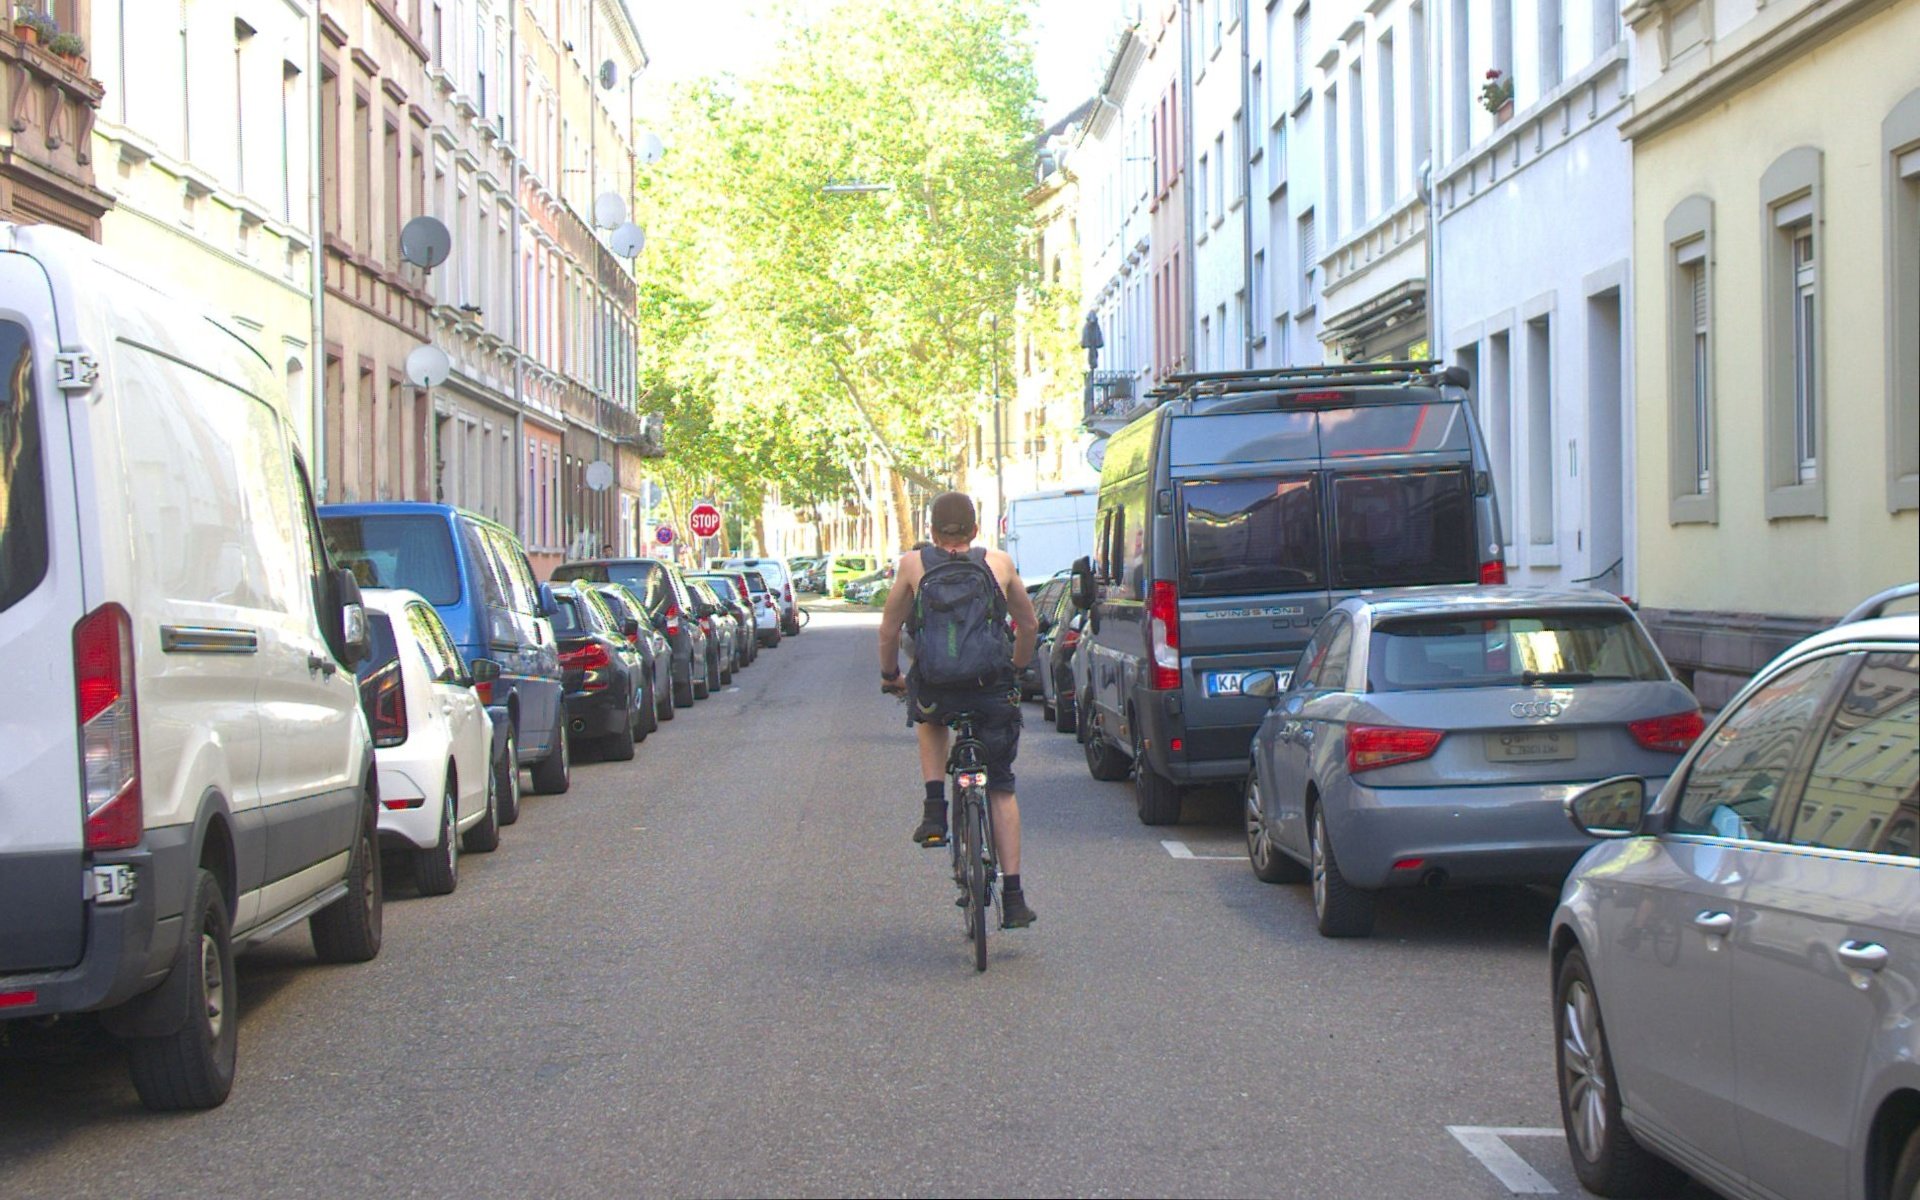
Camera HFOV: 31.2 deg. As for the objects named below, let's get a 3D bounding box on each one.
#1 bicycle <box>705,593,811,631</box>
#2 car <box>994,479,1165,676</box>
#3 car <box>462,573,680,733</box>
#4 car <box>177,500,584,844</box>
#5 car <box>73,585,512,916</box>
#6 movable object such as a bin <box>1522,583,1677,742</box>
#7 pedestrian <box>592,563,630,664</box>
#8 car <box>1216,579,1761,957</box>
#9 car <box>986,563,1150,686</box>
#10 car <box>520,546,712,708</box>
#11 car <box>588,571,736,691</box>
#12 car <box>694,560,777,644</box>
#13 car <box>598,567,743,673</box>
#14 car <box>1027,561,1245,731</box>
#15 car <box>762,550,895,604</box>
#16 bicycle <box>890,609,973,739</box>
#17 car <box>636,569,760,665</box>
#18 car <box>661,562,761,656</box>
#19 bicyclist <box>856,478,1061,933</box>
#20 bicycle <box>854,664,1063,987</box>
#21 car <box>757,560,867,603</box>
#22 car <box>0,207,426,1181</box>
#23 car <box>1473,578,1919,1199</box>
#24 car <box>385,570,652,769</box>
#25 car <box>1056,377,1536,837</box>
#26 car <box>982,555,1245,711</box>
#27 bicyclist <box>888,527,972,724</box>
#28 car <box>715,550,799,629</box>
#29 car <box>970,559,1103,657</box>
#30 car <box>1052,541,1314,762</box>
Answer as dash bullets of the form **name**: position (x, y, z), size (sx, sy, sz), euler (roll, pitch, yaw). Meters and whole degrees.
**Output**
- **bicycle**: position (-5.230, 0.313, 89.189), size (2.715, 0.889, 0.619), euler (-1, 1, -3)
- **car**: position (1.623, -0.342, 48.421), size (2.204, 2.542, 6.036), euler (-1, 1, 1)
- **car**: position (-3.785, 0.480, 34.001), size (1.736, 1.422, 4.000), euler (-1, 1, -1)
- **car**: position (-3.611, 0.385, 22.245), size (1.827, 1.885, 4.614), euler (-4, 1, -1)
- **car**: position (-3.302, 0.679, 17.655), size (1.645, 1.442, 3.840), euler (-1, 1, -3)
- **movable object such as a bin**: position (4.496, 0.430, 24.214), size (0.863, 1.039, 0.708), euler (-4, 1, -3)
- **pedestrian**: position (-6.432, 0.244, 63.461), size (0.610, 1.852, 0.754), euler (1, 0, -2)
- **car**: position (2.234, 0.647, 15.600), size (1.747, 1.439, 4.172), euler (-1, 1, -1)
- **car**: position (1.304, 0.271, 42.978), size (1.725, 1.424, 3.833), euler (-1, 1, -2)
- **car**: position (-3.943, 0.275, 39.958), size (1.801, 1.692, 4.000), euler (-3, 1, -1)
- **car**: position (-3.856, 0.373, 44.940), size (1.592, 1.435, 3.654), euler (-1, 1, 0)
- **car**: position (-4.411, 0.018, 67.305), size (1.544, 1.545, 3.466), euler (-1, 1, -4)
- **car**: position (-4.164, 0.264, 49.912), size (1.674, 1.425, 3.888), euler (-1, 1, 1)
- **car**: position (1.631, 0.389, 33.146), size (1.746, 1.480, 4.243), euler (-1, 1, -1)
- **car**: position (-4.550, -0.799, 118.623), size (4.468, 1.753, 1.867), euler (-1, 1, -5)
- **bicycle**: position (-0.257, 0.621, 29.626), size (0.664, 1.034, 1.959), euler (-1, 1, -1)
- **car**: position (-4.157, 0.243, 54.973), size (1.706, 1.409, 4.302), euler (-1, 1, -1)
- **car**: position (-4.324, 0.128, 59.931), size (1.604, 1.525, 3.379), euler (-2, 1, -3)
- **bicyclist**: position (-0.021, 0.385, 13.251), size (0.740, 1.673, 1.117), euler (1, 1, -2)
- **bicycle**: position (-0.032, 0.831, 13.387), size (0.740, 1.097, 2.042), euler (1, 1, -2)
- **car**: position (-6.226, -0.779, 144.169), size (4.468, 1.690, 1.867), euler (-1, 1, -5)
- **car**: position (-3.268, 0.237, 11.595), size (2.168, 2.443, 5.922), euler (-2, 1, -2)
- **car**: position (2.364, 0.713, 6.817), size (1.786, 1.449, 4.547), euler (-4, 1, -2)
- **car**: position (-3.622, 0.514, 28.941), size (1.861, 1.435, 4.646), euler (-1, 1, -3)
- **car**: position (1.921, -0.001, 21.897), size (2.175, 2.417, 6.310), euler (-2, 1, -2)
- **car**: position (1.612, 0.313, 37.930), size (1.811, 1.473, 4.609), euler (-4, 2, -10)
- **bicyclist**: position (-0.262, 0.209, 29.549), size (0.669, 1.653, 0.877), euler (-1, 1, -1)
- **car**: position (-4.669, -0.269, 79.504), size (1.787, 1.731, 3.876), euler (-1, 1, -2)
- **car**: position (1.188, 0.097, 54.951), size (1.731, 1.465, 4.022), euler (-1, 1, -4)
- **car**: position (1.758, 0.367, 28.395), size (1.693, 1.602, 4.375), euler (-3, 1, -1)
